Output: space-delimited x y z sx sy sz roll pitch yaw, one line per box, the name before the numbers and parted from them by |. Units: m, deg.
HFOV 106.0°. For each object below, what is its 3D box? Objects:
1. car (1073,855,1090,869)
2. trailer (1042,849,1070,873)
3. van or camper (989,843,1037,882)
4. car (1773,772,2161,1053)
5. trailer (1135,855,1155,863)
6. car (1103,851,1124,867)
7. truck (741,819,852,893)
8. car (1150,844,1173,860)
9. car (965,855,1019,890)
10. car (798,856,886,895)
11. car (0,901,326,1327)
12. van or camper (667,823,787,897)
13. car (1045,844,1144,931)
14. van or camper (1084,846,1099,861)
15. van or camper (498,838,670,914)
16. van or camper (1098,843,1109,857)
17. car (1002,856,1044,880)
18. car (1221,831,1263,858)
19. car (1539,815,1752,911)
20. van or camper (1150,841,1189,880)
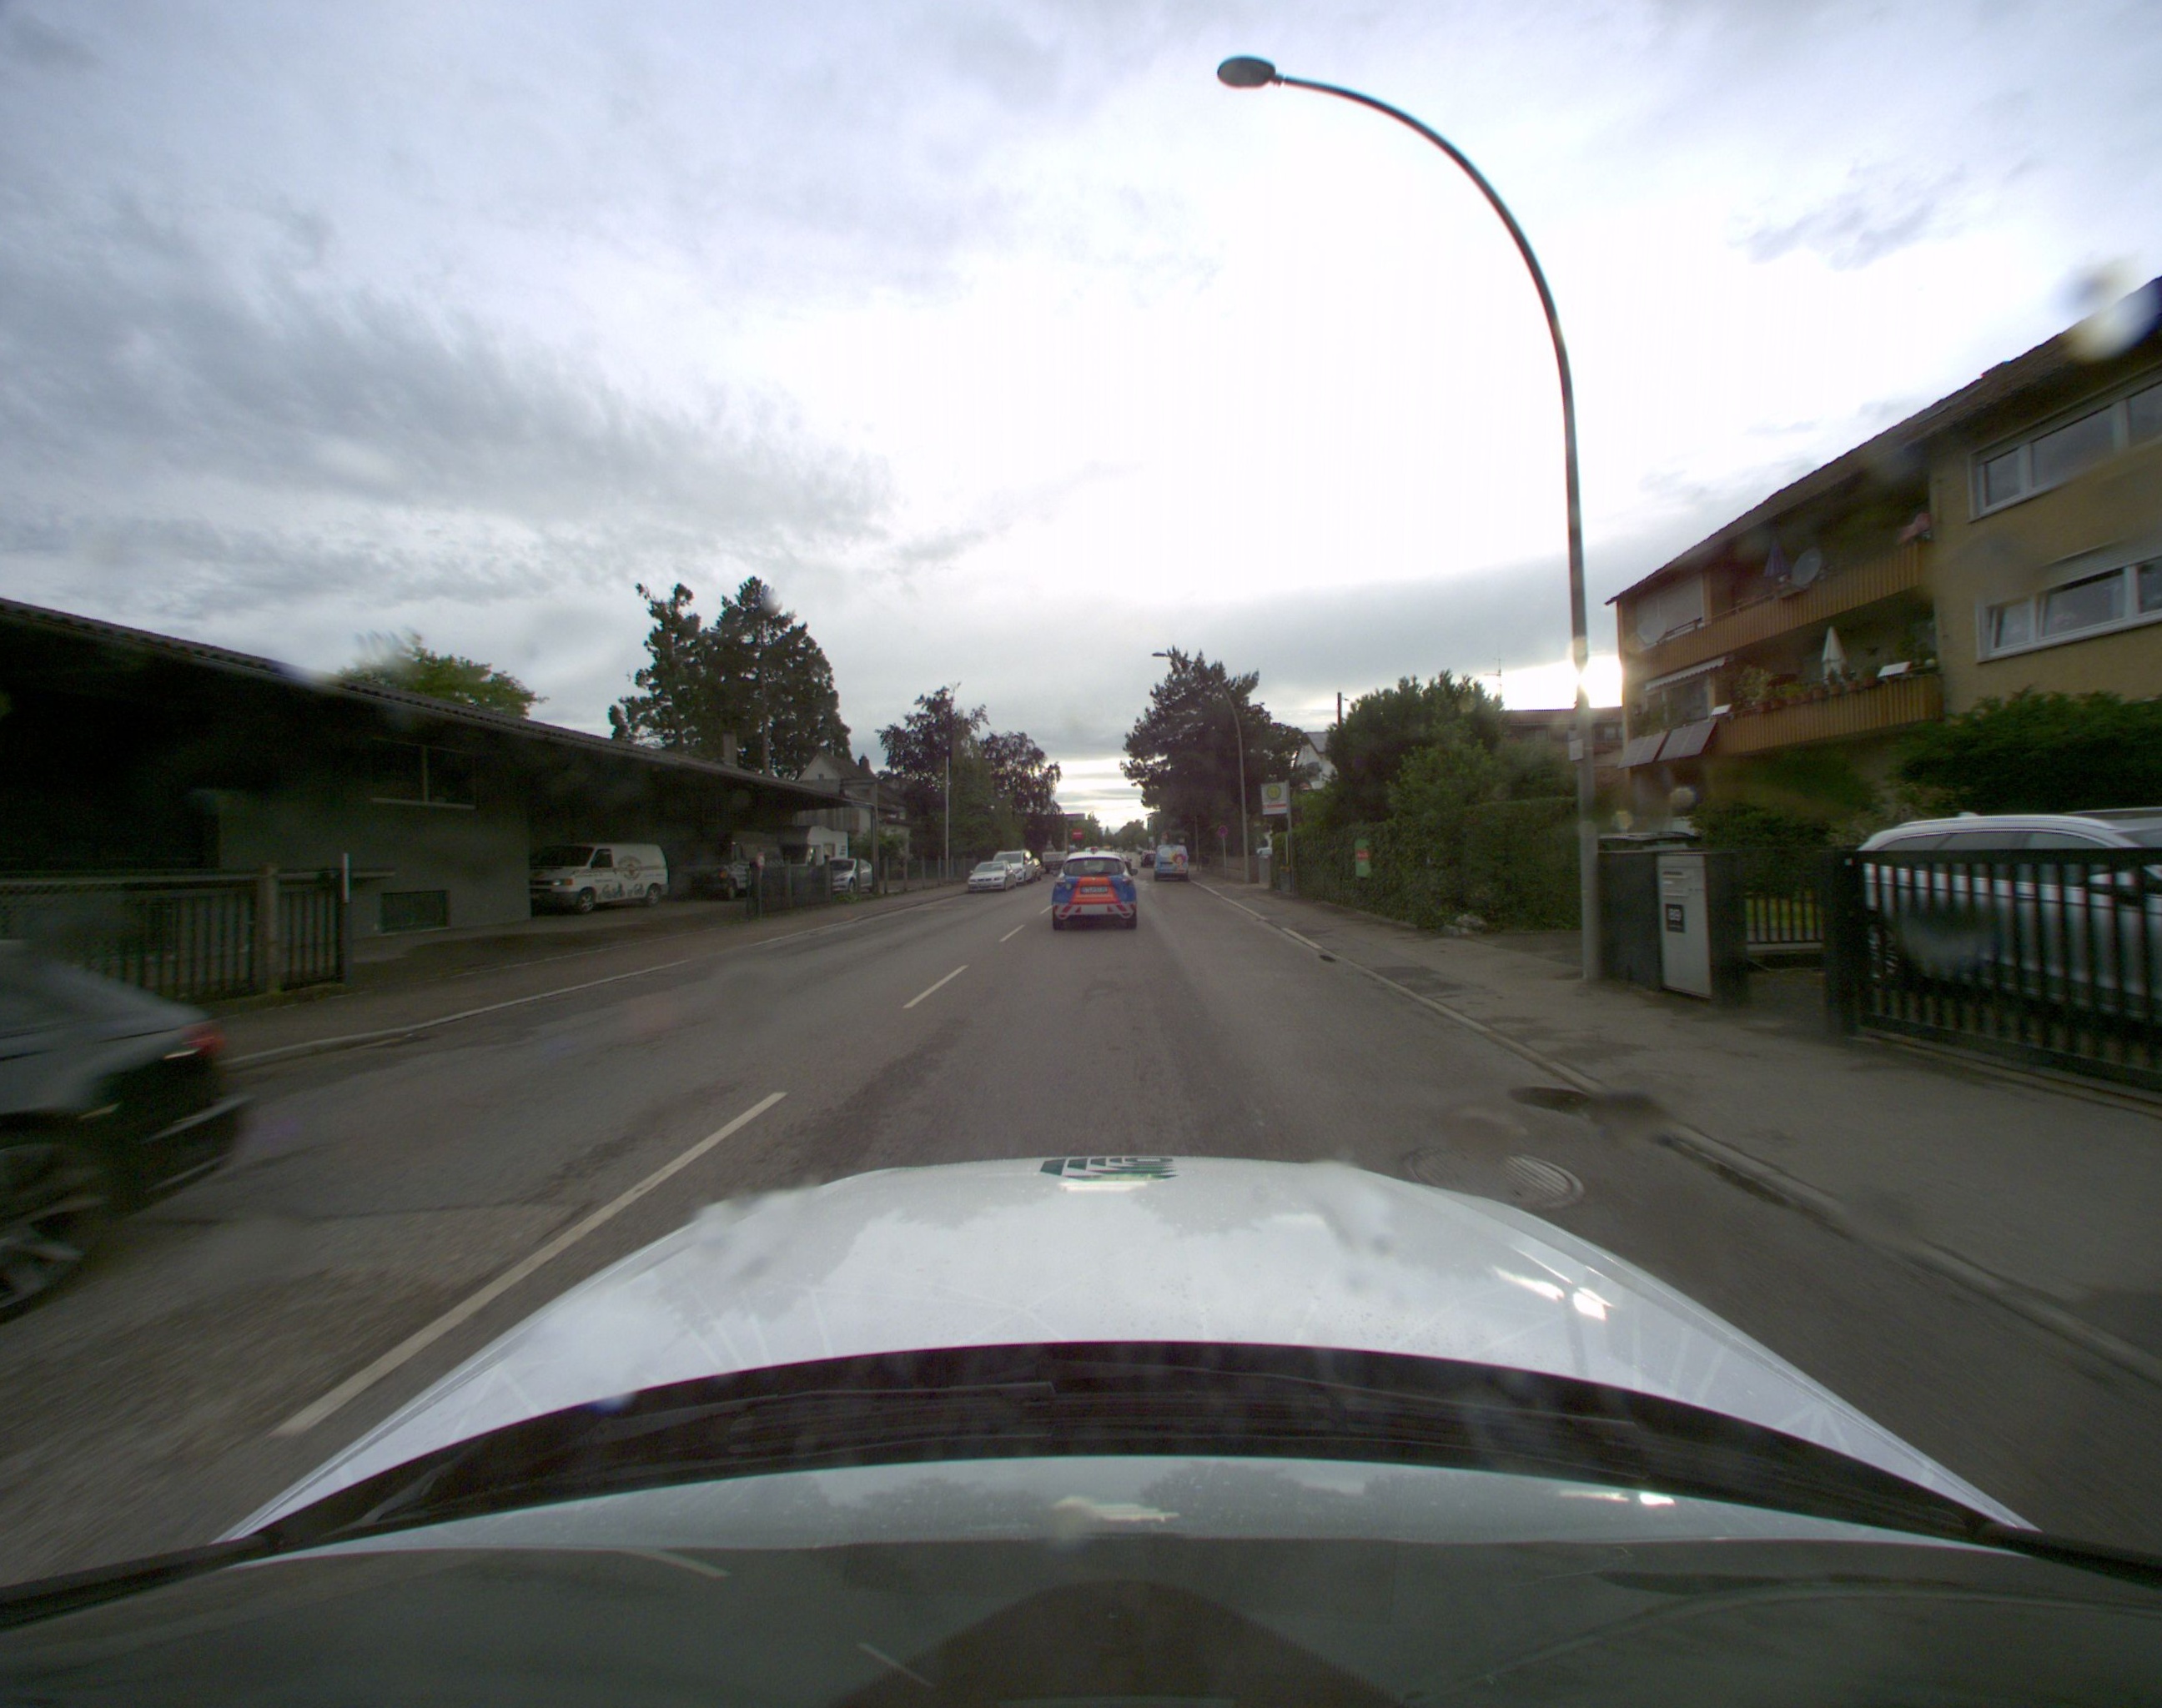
car | 0.035 1.002 102.797 1.986 1.596 4.001 0 -2 2
trailer | -2.177 0.635 71.725 2.212 2.014 4.437 0 -2 2
van or camper | -3.664 0.532 44.750 1.882 2.014 5.100 0 -2 3
car | 7.707 0.384 5.812 2.106 1.651 5.255 0 -2 14
trailer | 6.703 0.483 85.130 1.931 0.754 2.861 -2 0 2
car | 3.508 0.492 87.399 1.984 1.420 4.007 -4 2 5
truck | -12.144 0.130 35.361 2.384 2.927 5.962 0 -1 3
car | 7.872 -0.213 80.350 1.986 1.536 4.002 -2 0 2
car | -4.112 0.893 38.323 1.735 1.480 4.187 -4 -2 4
car | -9.664 0.837 33.410 1.928 1.444 4.786 -1 -1 3
car | -4.788 0.988 1.800 1.735 1.451 4.547 -5 -1 4
van or camper | -12.705 0.279 29.652 1.852 2.438 5.235 1 -2 2
car | 0.279 0.643 17.852 1.882 1.632 4.000 -2 0 0
van or camper | 1.605 -0.106 127.245 2.153 2.353 4.336 -2 0 2
van or camper | -13.670 0.557 22.790 1.986 1.909 4.473 0 0 1
van or camper | 4.597 -0.860 166.865 1.986 2.775 5.443 -2 0 2
car | -3.538 0.838 50.432 1.985 1.288 4.004 -2 0 4
car | 9.922 -0.573 50.499 1.985 1.486 4.002 0 -2 2
car | 10.211 0.204 15.134 1.652 1.547 4.009 0 -2 8
van or camper | 4.628 0.326 43.136 1.747 1.883 4.002 -2 0 2
